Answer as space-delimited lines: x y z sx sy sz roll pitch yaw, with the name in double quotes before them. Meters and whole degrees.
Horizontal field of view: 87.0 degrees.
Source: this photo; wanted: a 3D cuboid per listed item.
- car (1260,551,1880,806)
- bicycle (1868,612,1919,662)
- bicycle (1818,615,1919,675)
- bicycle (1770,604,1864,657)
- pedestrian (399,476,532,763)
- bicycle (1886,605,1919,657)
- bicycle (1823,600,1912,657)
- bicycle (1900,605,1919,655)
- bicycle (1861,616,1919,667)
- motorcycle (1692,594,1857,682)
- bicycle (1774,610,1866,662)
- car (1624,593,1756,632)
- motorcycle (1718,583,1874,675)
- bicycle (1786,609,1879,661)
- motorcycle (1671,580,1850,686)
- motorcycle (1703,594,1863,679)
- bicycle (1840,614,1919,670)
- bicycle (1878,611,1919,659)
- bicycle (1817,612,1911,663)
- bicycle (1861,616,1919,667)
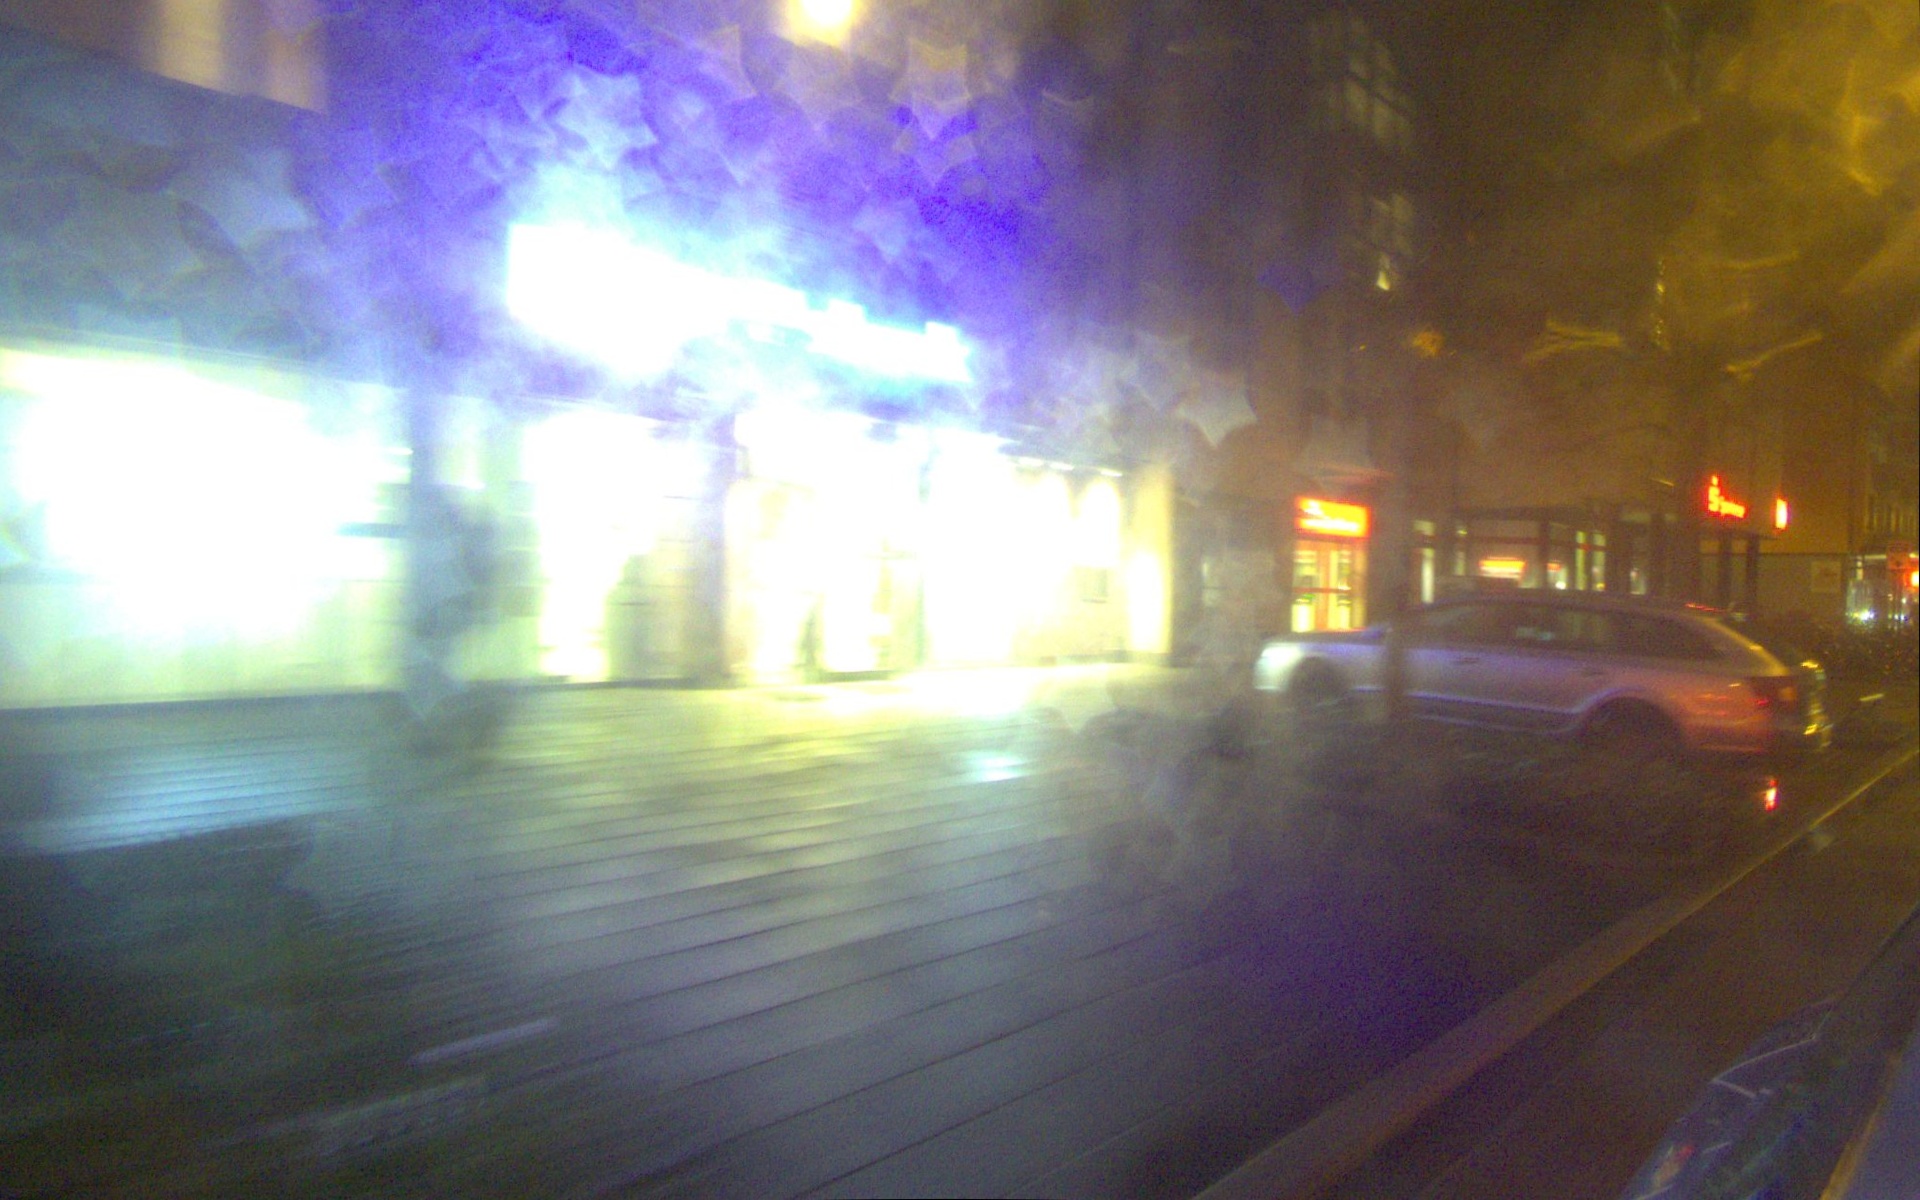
"car" 5.291 0.472 9.376 1.749 1.549 4.524 1 5 -41
"bicycle" 22.266 0.902 23.571 0.359 1.035 1.535 0 7 -36
"bicycle" 18.913 0.914 20.906 0.359 0.963 1.678 1 7 -33
"bicycle" 19.618 0.687 23.193 0.360 0.963 1.532 -1 8 -44
"pedestrian" -3.349 0.114 6.839 0.612 1.810 0.705 2 2 -37
"bicycle" 24.105 0.833 25.106 0.360 1.216 1.533 0 8 -41
"bicycle" 23.007 0.705 25.684 0.360 1.216 1.533 0 8 -41
"bicycle" 24.583 0.830 25.224 0.359 1.216 1.535 0 7 -37
"bicycle" 20.972 0.946 22.304 0.360 0.963 1.532 -1 8 -44
"motorcycle" 15.103 0.667 18.833 0.851 1.334 2.179 0 5 -40
"bicycle" 20.051 0.819 23.617 0.360 0.963 1.531 -1 8 -44
"car" 29.473 0.472 40.941 1.861 1.504 3.996 1 0 -39
"motorcycle" 16.752 0.537 20.336 0.851 1.565 2.179 0 5 -40
"bicycle" 20.481 0.804 23.771 0.360 0.963 1.532 -1 8 -44
"motorcycle" 14.382 0.539 18.254 0.851 1.606 2.294 0 5 -40
"motorcycle" 15.777 0.656 19.454 0.851 1.334 2.179 0 5 -40
"bicycle" 19.565 0.879 21.232 0.359 0.963 1.536 1 7 -33
"bicycle" 23.254 0.897 24.390 0.360 1.035 1.533 0 8 -41
"bicycle" 21.375 0.874 23.954 0.359 0.963 1.535 0 7 -36
"bicycle" 20.666 0.930 21.978 0.360 0.963 1.532 -1 8 -44
